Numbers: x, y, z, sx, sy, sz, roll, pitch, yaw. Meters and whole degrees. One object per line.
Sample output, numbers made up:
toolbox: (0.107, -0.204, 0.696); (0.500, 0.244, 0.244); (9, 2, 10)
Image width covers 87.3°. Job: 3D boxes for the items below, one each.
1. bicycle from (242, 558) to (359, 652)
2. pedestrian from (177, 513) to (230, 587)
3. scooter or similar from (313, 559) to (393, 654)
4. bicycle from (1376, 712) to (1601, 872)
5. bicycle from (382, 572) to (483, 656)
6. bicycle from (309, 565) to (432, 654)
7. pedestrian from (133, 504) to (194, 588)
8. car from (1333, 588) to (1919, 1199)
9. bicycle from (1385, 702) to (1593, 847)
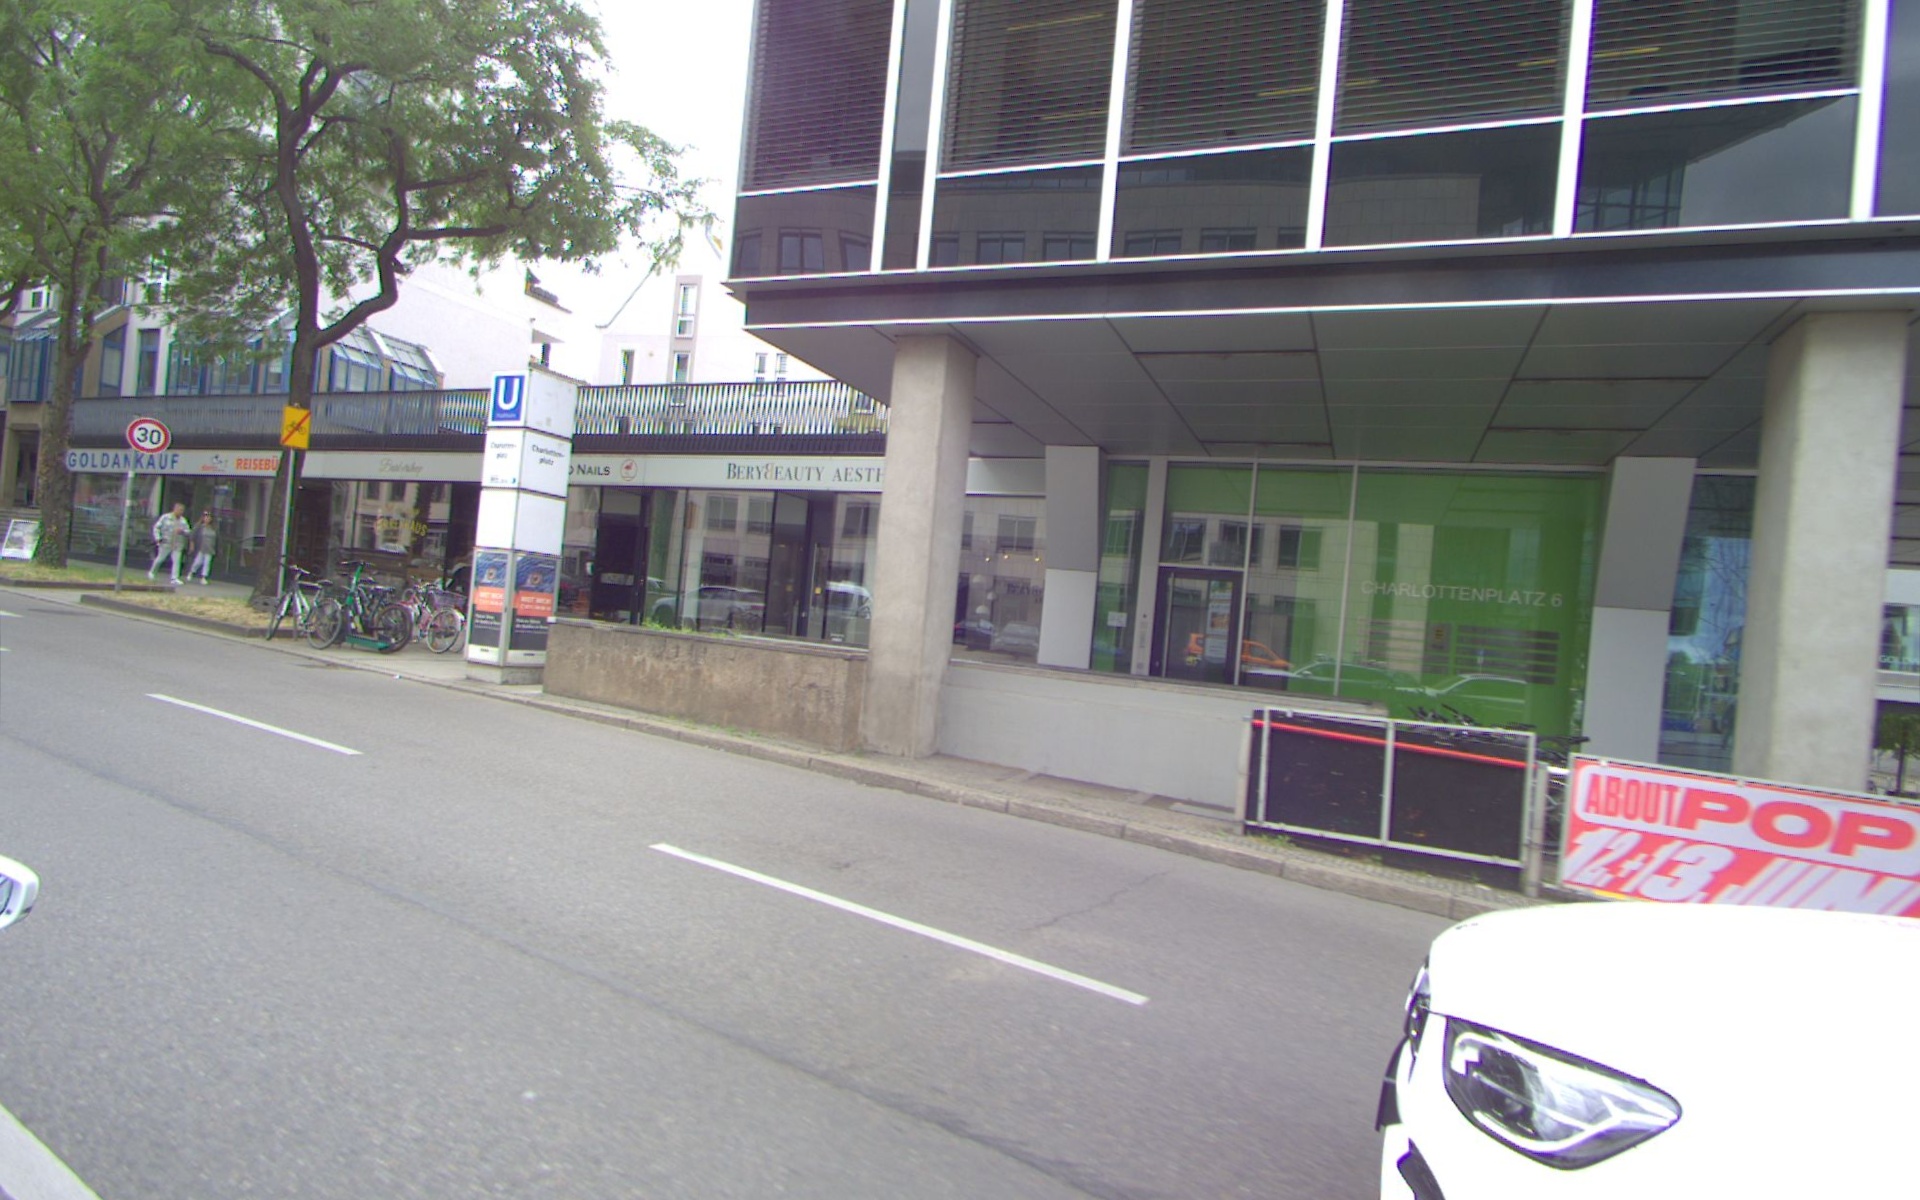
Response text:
bicycle: (-9.441, 0.061, 14.373); (1.811, 1.146, 0.490); (6, 0, 27)
pedestrian: (-17.759, -1.167, 23.615); (0.743, 1.649, 0.597); (6, 1, 23)
scooter or similar: (-8.831, 0.099, 14.641); (0.978, 1.267, 0.307); (6, 0, 15)
bicycle: (4.487, 1.614, 8.636); (1.458, 1.061, 0.714); (6, 0, 7)
bicycle: (-8.355, 0.209, 15.905); (1.659, 1.146, 0.490); (6, 0, 29)
bicycle: (-8.918, 0.138, 15.197); (1.852, 1.146, 0.491); (6, 0, 22)
pedestrian: (-18.002, -1.215, 22.741); (0.923, 1.776, 0.597); (6, 1, 23)
car: (2.942, 1.041, 1.365); (4.264, 1.667, 1.802); (6, 1, 34)
bicycle: (4.878, 1.590, 9.371); (1.458, 1.061, 0.714); (6, 0, 7)
